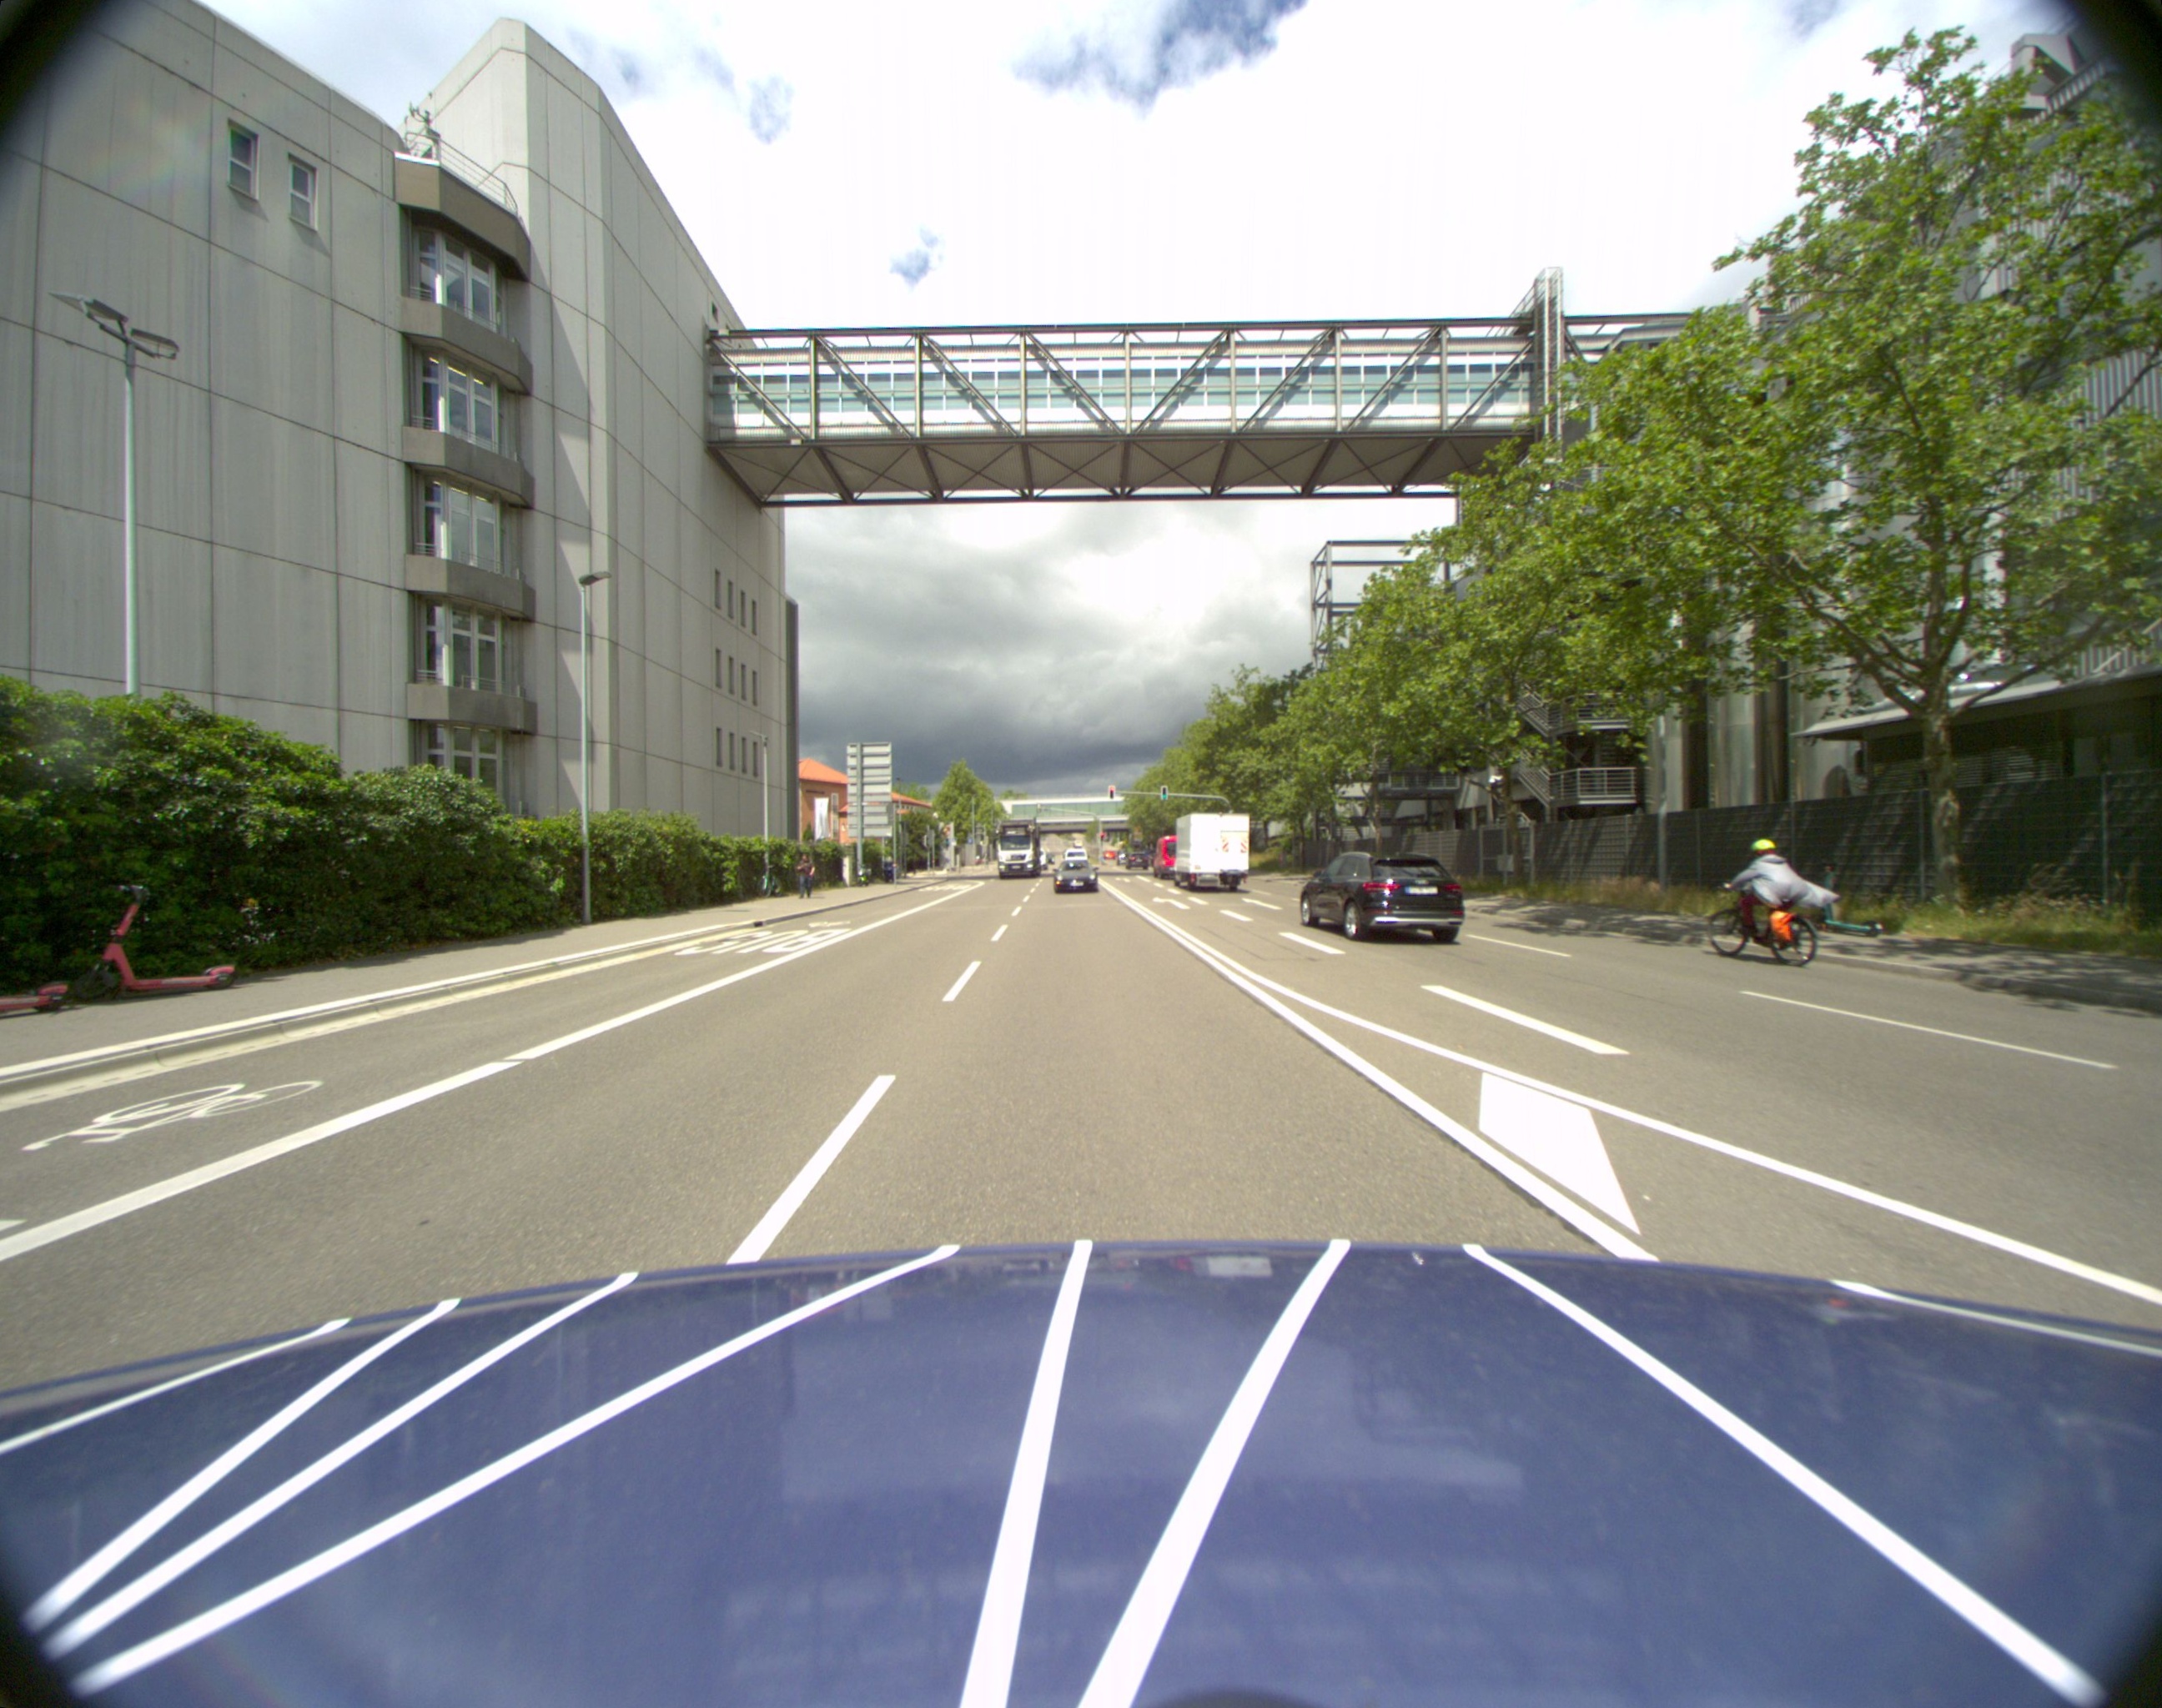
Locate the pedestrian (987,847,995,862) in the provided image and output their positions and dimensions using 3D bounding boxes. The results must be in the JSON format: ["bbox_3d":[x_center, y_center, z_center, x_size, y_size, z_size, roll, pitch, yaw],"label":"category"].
[{"bbox_3d":[-10.853,0.086,91.405,0.729,1.756,1.015,-2,1,-1],"label":"pedestrian"}]

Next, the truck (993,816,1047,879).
[{"bbox_3d":[-4.064,-0.508,53.195,2.713,3.863,10.739,-2,1,0],"label":"truck"}]

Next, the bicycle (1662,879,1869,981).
[{"bbox_3d":[9.965,1.049,11.243,0.738,1.227,2.473,0,1,-2],"label":"bicycle"}]

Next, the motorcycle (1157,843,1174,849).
[{"bbox_3d":[14.970,-1.383,134.743,2.830,1.030,0.600,-2,-1,3],"label":"motorcycle"}]

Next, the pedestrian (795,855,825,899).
[{"bbox_3d":[-10.228,0.850,28.682,0.811,1.635,0.997,0,1,-2],"label":"pedestrian"}]

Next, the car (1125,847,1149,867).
[{"bbox_3d":[4.957,0.265,67.889,1.740,1.674,4.212,-2,1,-1],"label":"car"}]

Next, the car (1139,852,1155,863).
[{"bbox_3d":[8.561,0.428,98.720,1.697,1.421,3.821,0,0,-1],"label":"car"}]

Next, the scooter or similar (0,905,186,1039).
[{"bbox_3d":[-10.226,1.137,7.226,0.542,1.156,2.131,0,1,27],"label":"scooter or similar"}]

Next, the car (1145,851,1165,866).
[{"bbox_3d":[7.617,0.443,78.780,1.580,1.420,3.919,1,1,-1],"label":"car"}]

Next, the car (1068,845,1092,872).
[{"bbox_3d":[-0.090,0.404,60.705,1.825,2.001,4.392,-1,-1,0],"label":"car"}]

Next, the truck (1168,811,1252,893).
[{"bbox_3d":[5.418,-0.120,33.089,2.458,3.111,7.242,1,1,1],"label":"truck"}]

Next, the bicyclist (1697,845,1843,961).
[{"bbox_3d":[10.015,0.675,11.104,0.958,1.589,1.222,1,1,-3],"label":"bicyclist"}]

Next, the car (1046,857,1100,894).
[{"bbox_3d":[-0.261,0.848,31.427,1.838,1.317,4.001,-3,0,4],"label":"car"}]

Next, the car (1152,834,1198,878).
[{"bbox_3d":[5.586,0.087,45.715,2.068,2.492,5.479,0,0,0],"label":"car"}]

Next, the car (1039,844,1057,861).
[{"bbox_3d":[-4.050,-0.174,94.737,1.872,1.944,4.710,-3,1,1],"label":"car"}]

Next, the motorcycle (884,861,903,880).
[{"bbox_3d":[-11.140,0.948,45.161,0.592,1.061,2.037,1,0,0],"label":"motorcycle"}]

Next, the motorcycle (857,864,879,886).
[{"bbox_3d":[-11.014,1.083,39.353,0.592,1.061,2.037,0,1,0],"label":"motorcycle"}]

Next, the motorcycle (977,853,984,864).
[{"bbox_3d":[-11.866,0.520,89.459,0.570,1.219,2.175,0,1,0],"label":"motorcycle"}]

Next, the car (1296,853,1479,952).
[{"bbox_3d":[5.595,0.789,14.523,1.744,1.572,4.266,1,1,0],"label":"car"}]

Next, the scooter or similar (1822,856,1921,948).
[{"bbox_3d":[12.814,0.740,12.351,0.304,1.395,1.235,-2,1,-1],"label":"scooter or similar"}]

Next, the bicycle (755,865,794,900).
[{"bbox_3d":[-11.546,1.044,28.698,0.444,1.173,2.468,-2,1,-1],"label":"bicycle"}]

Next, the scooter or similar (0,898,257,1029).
[{"bbox_3d":[-10.396,1.121,8.302,0.542,1.156,1.795,0,1,27],"label":"scooter or similar"}]

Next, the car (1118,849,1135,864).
[{"bbox_3d":[4.974,0.261,83.221,1.562,1.496,3.612,1,1,0],"label":"car"}]

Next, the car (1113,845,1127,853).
[{"bbox_3d":[7.158,-0.912,139.666,1.999,1.446,4.767,1,1,-2],"label":"car"}]

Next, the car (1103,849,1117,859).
[{"bbox_3d":[4.400,0.011,114.484,1.889,1.446,3.902,1,1,-1],"label":"car"}]
